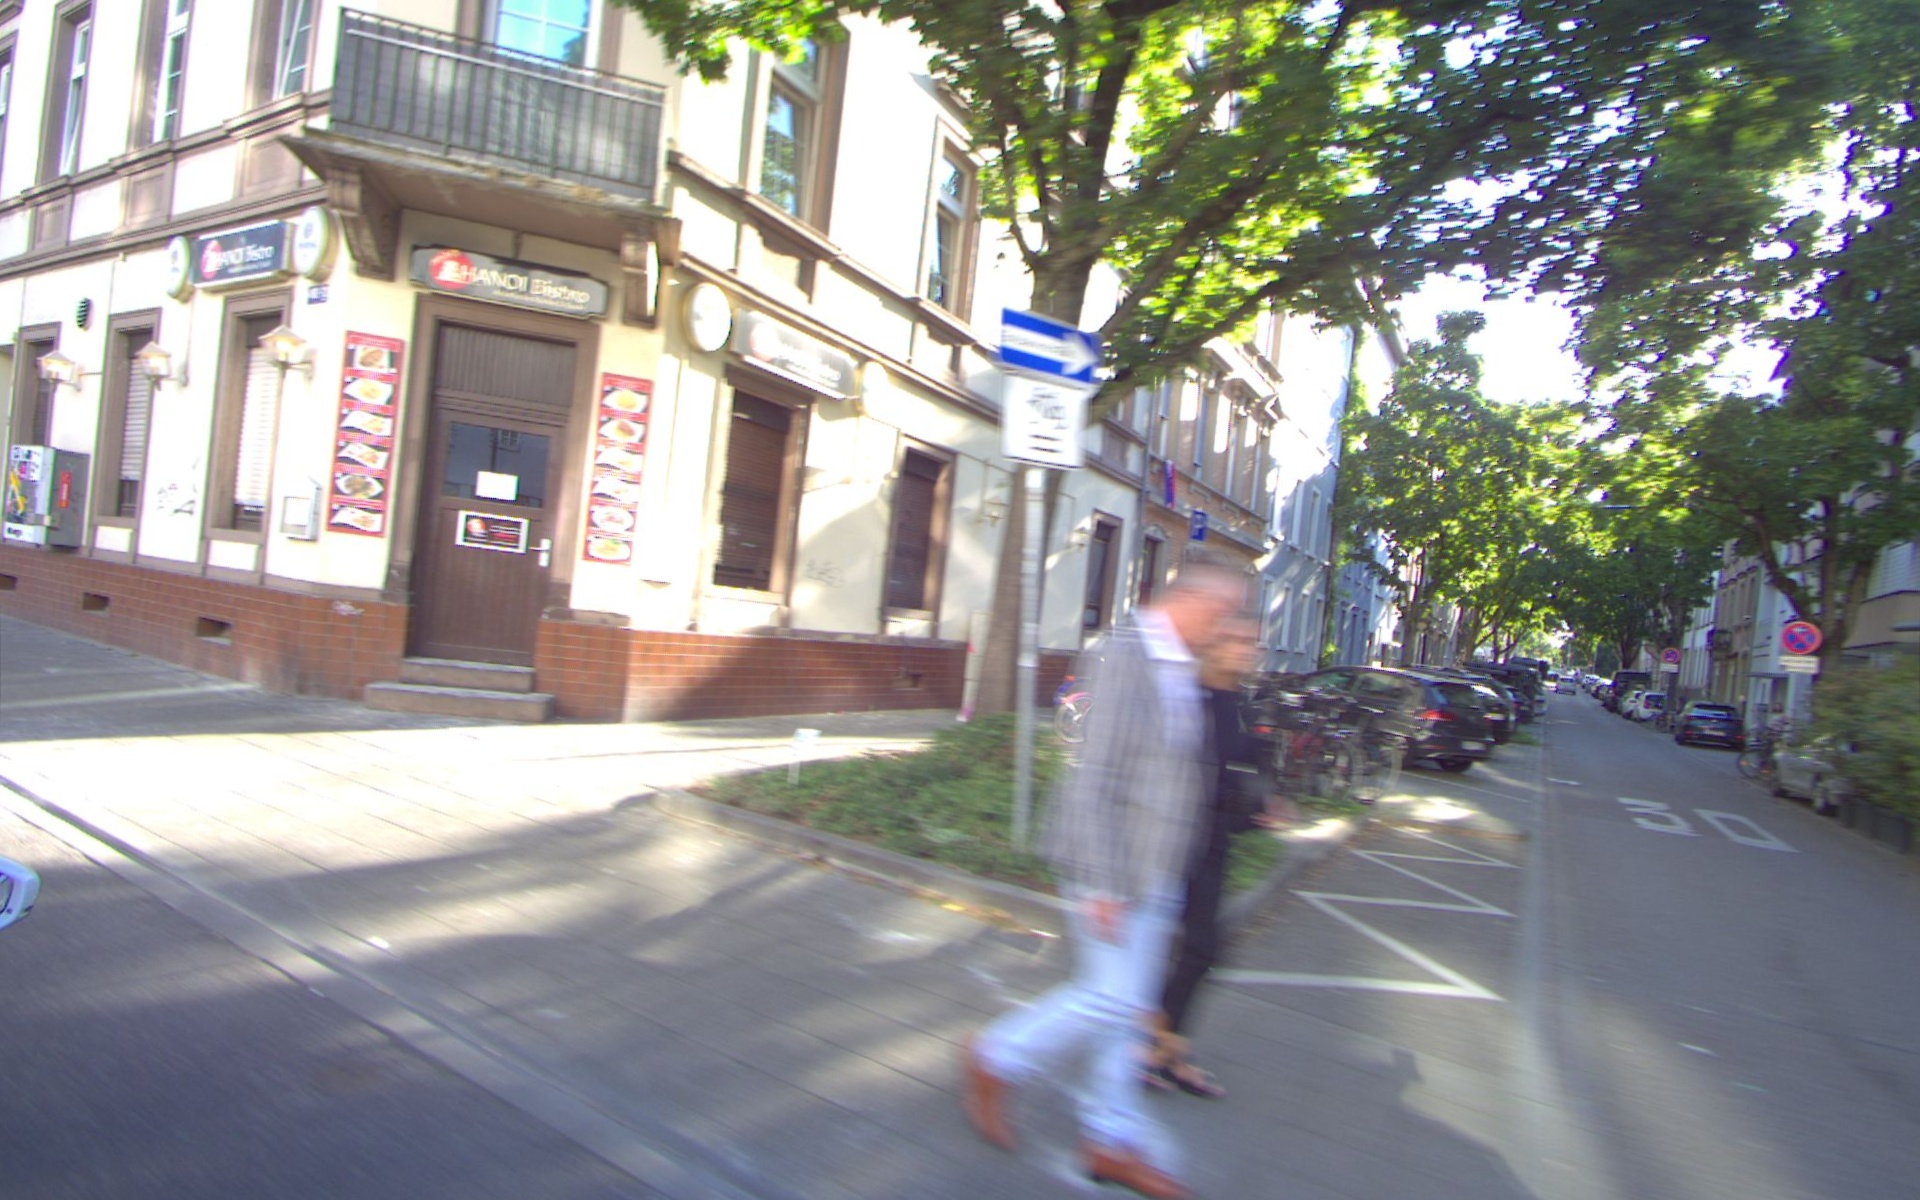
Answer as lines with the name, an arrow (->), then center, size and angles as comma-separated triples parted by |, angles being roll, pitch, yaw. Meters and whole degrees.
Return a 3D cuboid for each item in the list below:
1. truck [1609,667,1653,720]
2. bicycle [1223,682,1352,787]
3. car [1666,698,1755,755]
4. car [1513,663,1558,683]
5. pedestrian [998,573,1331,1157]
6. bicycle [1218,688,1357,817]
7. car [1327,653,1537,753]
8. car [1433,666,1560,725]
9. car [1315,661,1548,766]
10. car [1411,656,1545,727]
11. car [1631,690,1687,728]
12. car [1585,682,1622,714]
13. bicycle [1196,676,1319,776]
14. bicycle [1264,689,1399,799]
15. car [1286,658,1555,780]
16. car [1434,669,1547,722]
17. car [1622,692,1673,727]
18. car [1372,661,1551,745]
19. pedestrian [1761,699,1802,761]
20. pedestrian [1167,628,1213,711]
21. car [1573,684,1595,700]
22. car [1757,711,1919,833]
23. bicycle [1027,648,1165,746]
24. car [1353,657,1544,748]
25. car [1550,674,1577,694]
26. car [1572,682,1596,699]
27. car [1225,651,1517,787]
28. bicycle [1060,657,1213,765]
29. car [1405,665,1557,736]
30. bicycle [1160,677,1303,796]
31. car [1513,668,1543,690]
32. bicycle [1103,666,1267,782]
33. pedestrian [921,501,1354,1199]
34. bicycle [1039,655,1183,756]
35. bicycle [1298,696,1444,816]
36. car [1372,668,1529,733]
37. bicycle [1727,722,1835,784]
truck -> 40.166, 5.605, 60.333 | 1.849, 2.907, 4.279 | 5, -2, 32
bicycle -> 3.663, 1.509, 11.254 | 1.308, 1.027, 0.455 | 7, 1, -25
car -> 23.949, 3.993, 32.236 | 1.849, 1.481, 3.992 | 5, -2, 32
car -> 64.739, 8.171, 113.206 | 1.779, 1.819, 3.974 | 6, -2, -28
pedestrian -> 0.697, 0.770, 3.360 | 0.760, 1.624, 0.713 | 7, 3, 28
bicycle -> 2.961, 1.364, 9.055 | 1.315, 1.027, 0.453 | 7, 1, -40
car -> 11.001, 2.365, 23.711 | 1.710, 1.682, 4.050 | 8, -1, -32
car -> 21.558, 3.807, 40.545 | 1.710, 1.682, 4.050 | 8, -1, -32
car -> 9.784, 2.327, 21.203 | 1.710, 1.481, 4.050 | 8, -1, -32
car -> 19.745, 3.472, 38.508 | 1.710, 2.051, 4.050 | 8, -1, -32
car -> 32.833, 5.110, 47.343 | 1.849, 1.481, 3.992 | 5, -2, 32
car -> 45.599, 6.945, 71.340 | 1.968, 2.037, 3.992 | 5, -2, 32
bicycle -> 3.505, 1.490, 11.846 | 1.308, 1.027, 0.455 | 7, 1, -25
bicycle -> 3.949, 1.534, 10.682 | 1.308, 1.027, 0.455 | 7, 1, -25
car -> 8.227, 2.092, 18.336 | 1.710, 1.481, 4.050 | 8, -1, -32
car -> 23.645, 4.243, 44.969 | 1.710, 1.682, 4.050 | 8, -1, -32
car -> 34.822, 5.528, 51.009 | 1.849, 1.481, 3.992 | 5, -2, 32
car -> 13.930, 2.832, 28.185 | 1.710, 1.682, 4.050 | 8, -1, -32
pedestrian -> 23.600, 3.720, 28.914 | 0.638, 1.681, 0.650 | 6, 0, 24
pedestrian -> 4.924, 1.494, 21.516 | 0.639, 1.681, 0.649 | 6, 0, 30
car -> 65.630, 9.705, 105.862 | 1.849, 1.481, 3.992 | 5, -2, 32
car -> 14.227, 2.645, 15.853 | 1.847, 1.481, 3.995 | 5, -2, 29
bicycle -> 1.689, 1.207, 12.451 | 1.598, 1.027, 0.455 | 7, 1, -25
car -> 12.595, 2.620, 26.195 | 1.710, 1.682, 4.050 | 8, -1, -32
car -> 53.536, 7.473, 89.208 | 1.849, 1.481, 3.992 | 5, -2, 32
car -> 62.194, 9.019, 100.269 | 1.849, 1.481, 3.992 | 5, -2, 32
car -> 6.508, 1.851, 16.372 | 1.710, 1.481, 4.050 | 8, -1, -32
bicycle -> 1.969, 1.246, 11.194 | 1.598, 1.027, 0.455 | 7, 1, -25
car -> 17.255, 3.301, 33.503 | 1.710, 1.682, 4.050 | 8, -1, -32
bicycle -> 2.632, 1.328, 9.709 | 1.311, 1.027, 0.454 | 7, 1, -32
car -> 52.281, 7.290, 92.583 | 2.135, 1.819, 3.992 | 5, -2, 32
bicycle -> 2.335, 1.287, 10.394 | 1.598, 1.027, 0.455 | 7, 1, -25
pedestrian -> 0.483, 0.700, 2.636 | 0.760, 1.799, 0.713 | 7, 3, 28
bicycle -> 1.804, 1.261, 11.948 | 1.598, 1.027, 0.455 | 7, 1, -25
bicycle -> 4.047, 1.536, 9.889 | 1.308, 1.027, 0.455 | 7, 1, -25
car -> 15.182, 3.085, 31.325 | 1.783, 1.353, 3.966 | 8, -1, -32
bicycle -> 18.966, 3.520, 23.296 | 1.770, 1.121, 0.618 | 6, 0, 32
